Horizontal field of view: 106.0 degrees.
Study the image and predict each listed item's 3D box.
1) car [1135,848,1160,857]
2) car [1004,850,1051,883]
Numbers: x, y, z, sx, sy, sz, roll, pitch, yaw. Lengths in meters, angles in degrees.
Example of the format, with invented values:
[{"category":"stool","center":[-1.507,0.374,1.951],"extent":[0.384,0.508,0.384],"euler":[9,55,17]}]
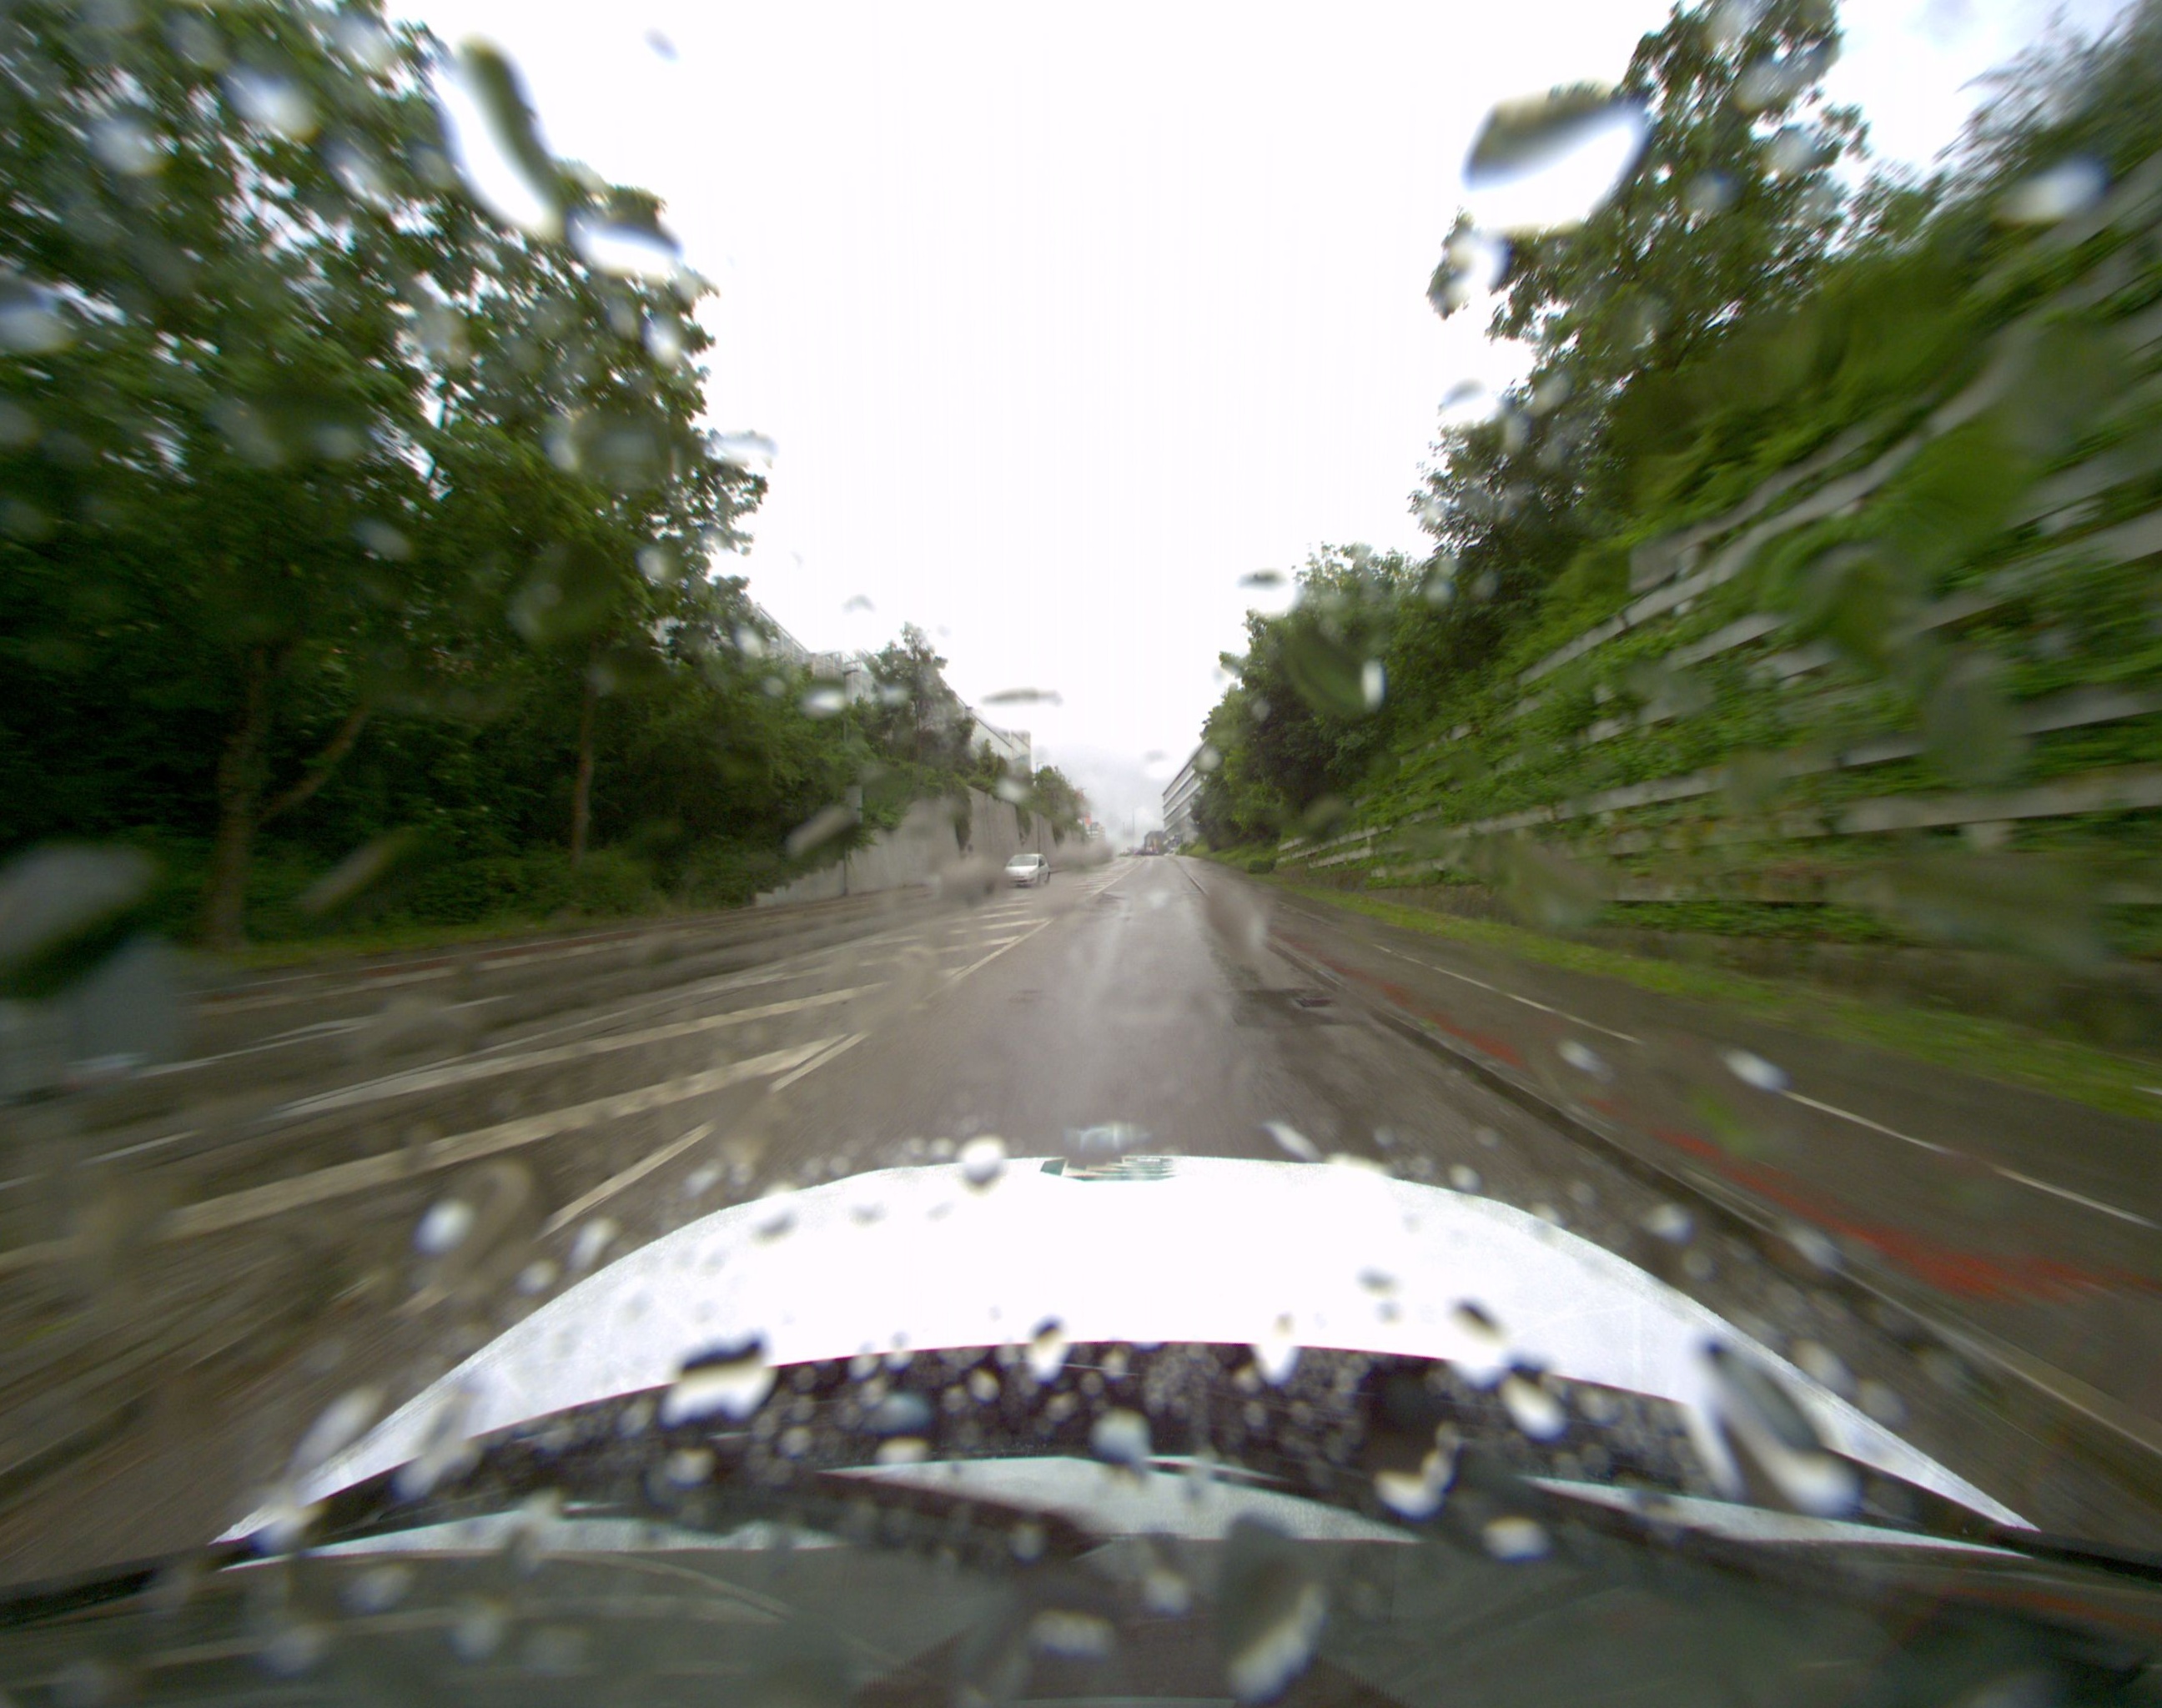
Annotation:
[{"category":"car","center":[12.236,-0.261,149.177],"extent":[4.169,1.410,1.807],"euler":[-2,-3,16]},{"category":"car","center":[-2.417,0.593,37.469],"extent":[1.505,1.448,3.823],"euler":[-1,-1,6]}]
